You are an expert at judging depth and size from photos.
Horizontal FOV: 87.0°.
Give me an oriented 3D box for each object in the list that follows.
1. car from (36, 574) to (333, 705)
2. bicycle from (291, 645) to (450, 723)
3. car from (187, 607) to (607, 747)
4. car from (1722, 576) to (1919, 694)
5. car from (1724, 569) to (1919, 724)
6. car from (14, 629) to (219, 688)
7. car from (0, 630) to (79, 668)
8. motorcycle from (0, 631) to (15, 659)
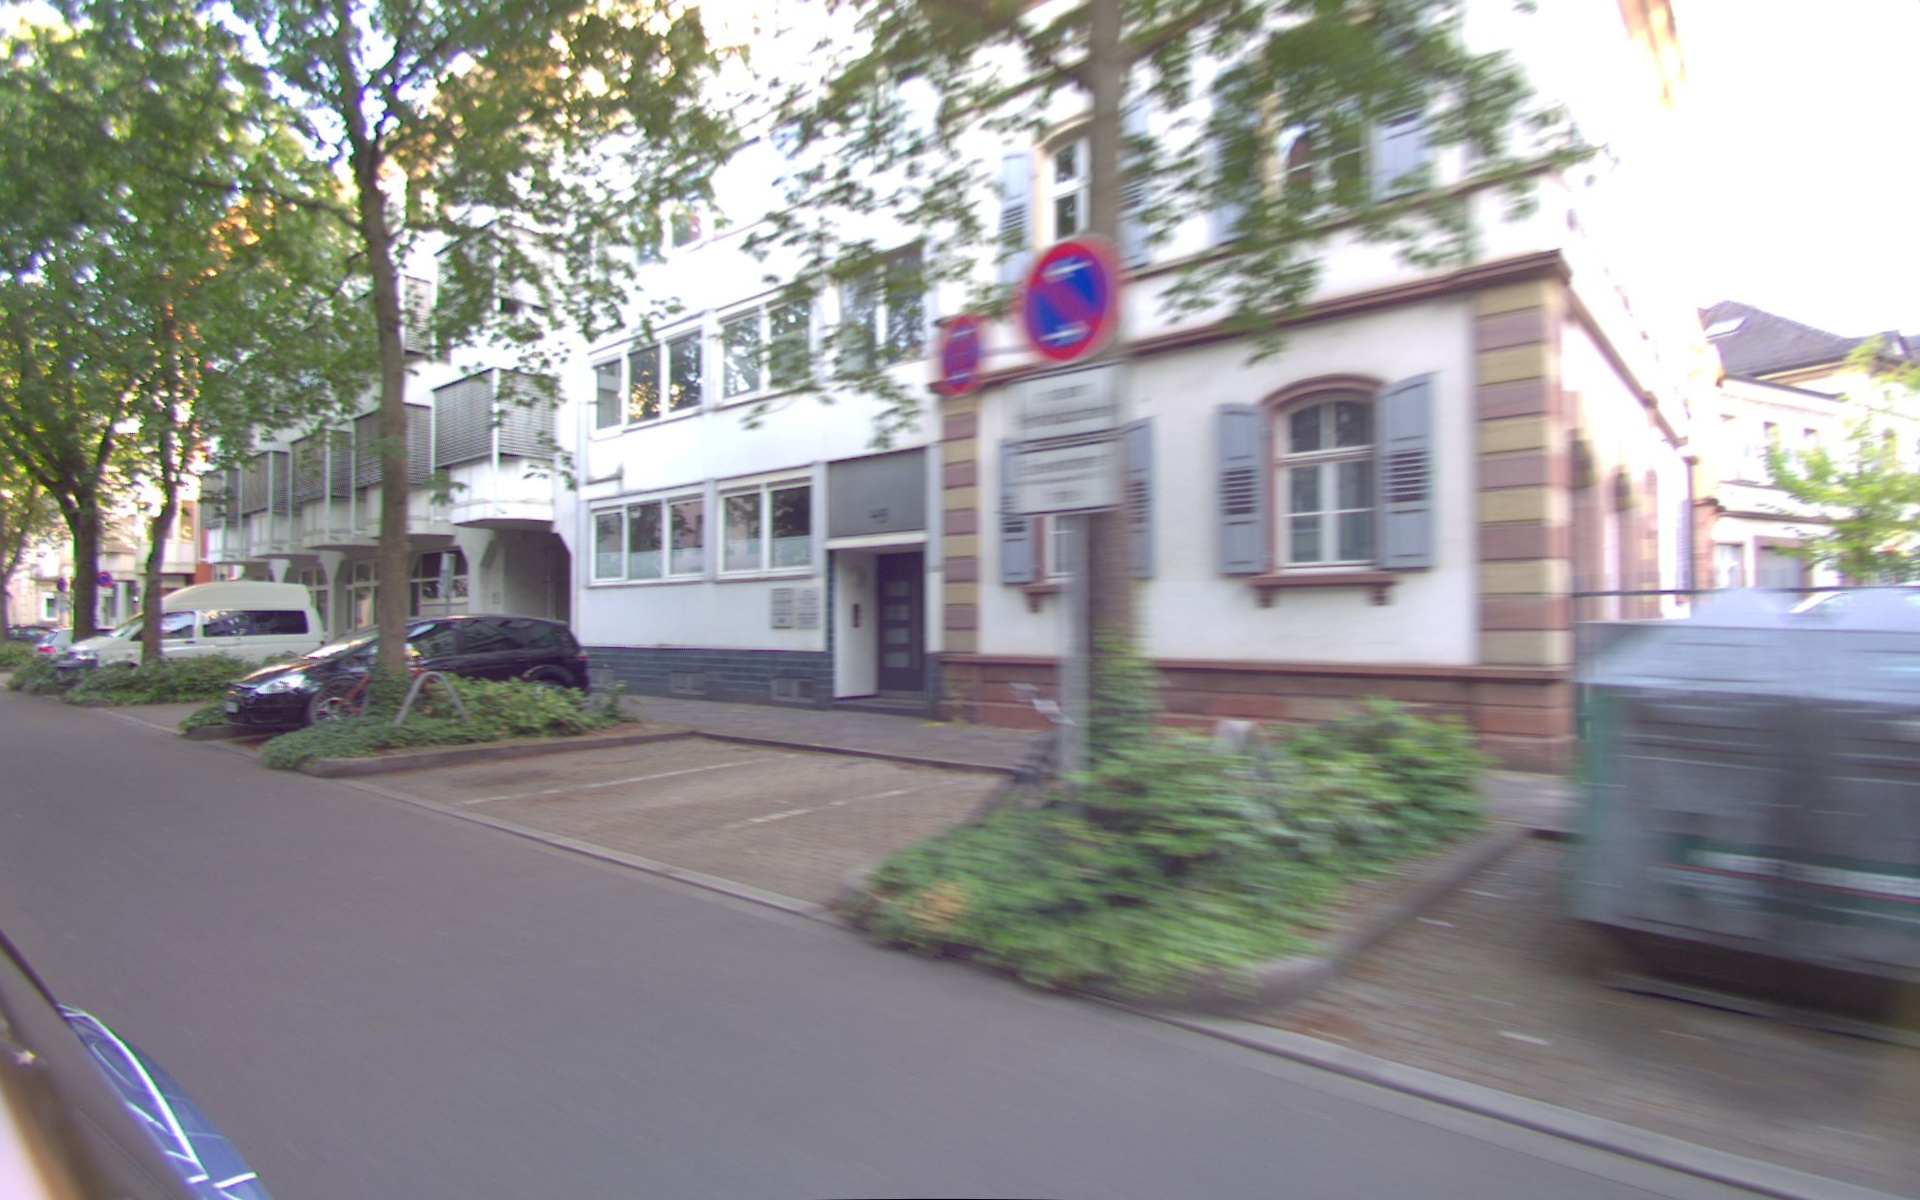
[{"bbox_3d":[-17.176,0.842,22.648,2.119,2.592,4.952,-2,-2,40],"label":"car"},{"bbox_3d":[-7.036,0.977,12.125,0.613,0.837,1.535,-2,-2,43],"label":"bicycle"},{"bbox_3d":[-7.778,0.952,14.400,2.159,1.634,4.802,-2,-2,41],"label":"car"},{"bbox_3d":[16.267,0.602,17.675,4.681,1.940,2.126,-2,-2,38],"label":"car"},{"bbox_3d":[12.070,0.534,12.069,4.672,1.771,1.978,-2,-2,38],"label":"car"},{"bbox_3d":[-23.324,1.561,28.099,1.952,1.480,4.124,-2,-2,41],"label":"car"},{"bbox_3d":[-39.264,2.008,41.556,1.870,1.537,4.463,-2,-2,40],"label":"car"},{"bbox_3d":[-50.622,2.332,52.483,0.894,1.481,2.218,-1,-2,18],"label":"motorcycle"}]
